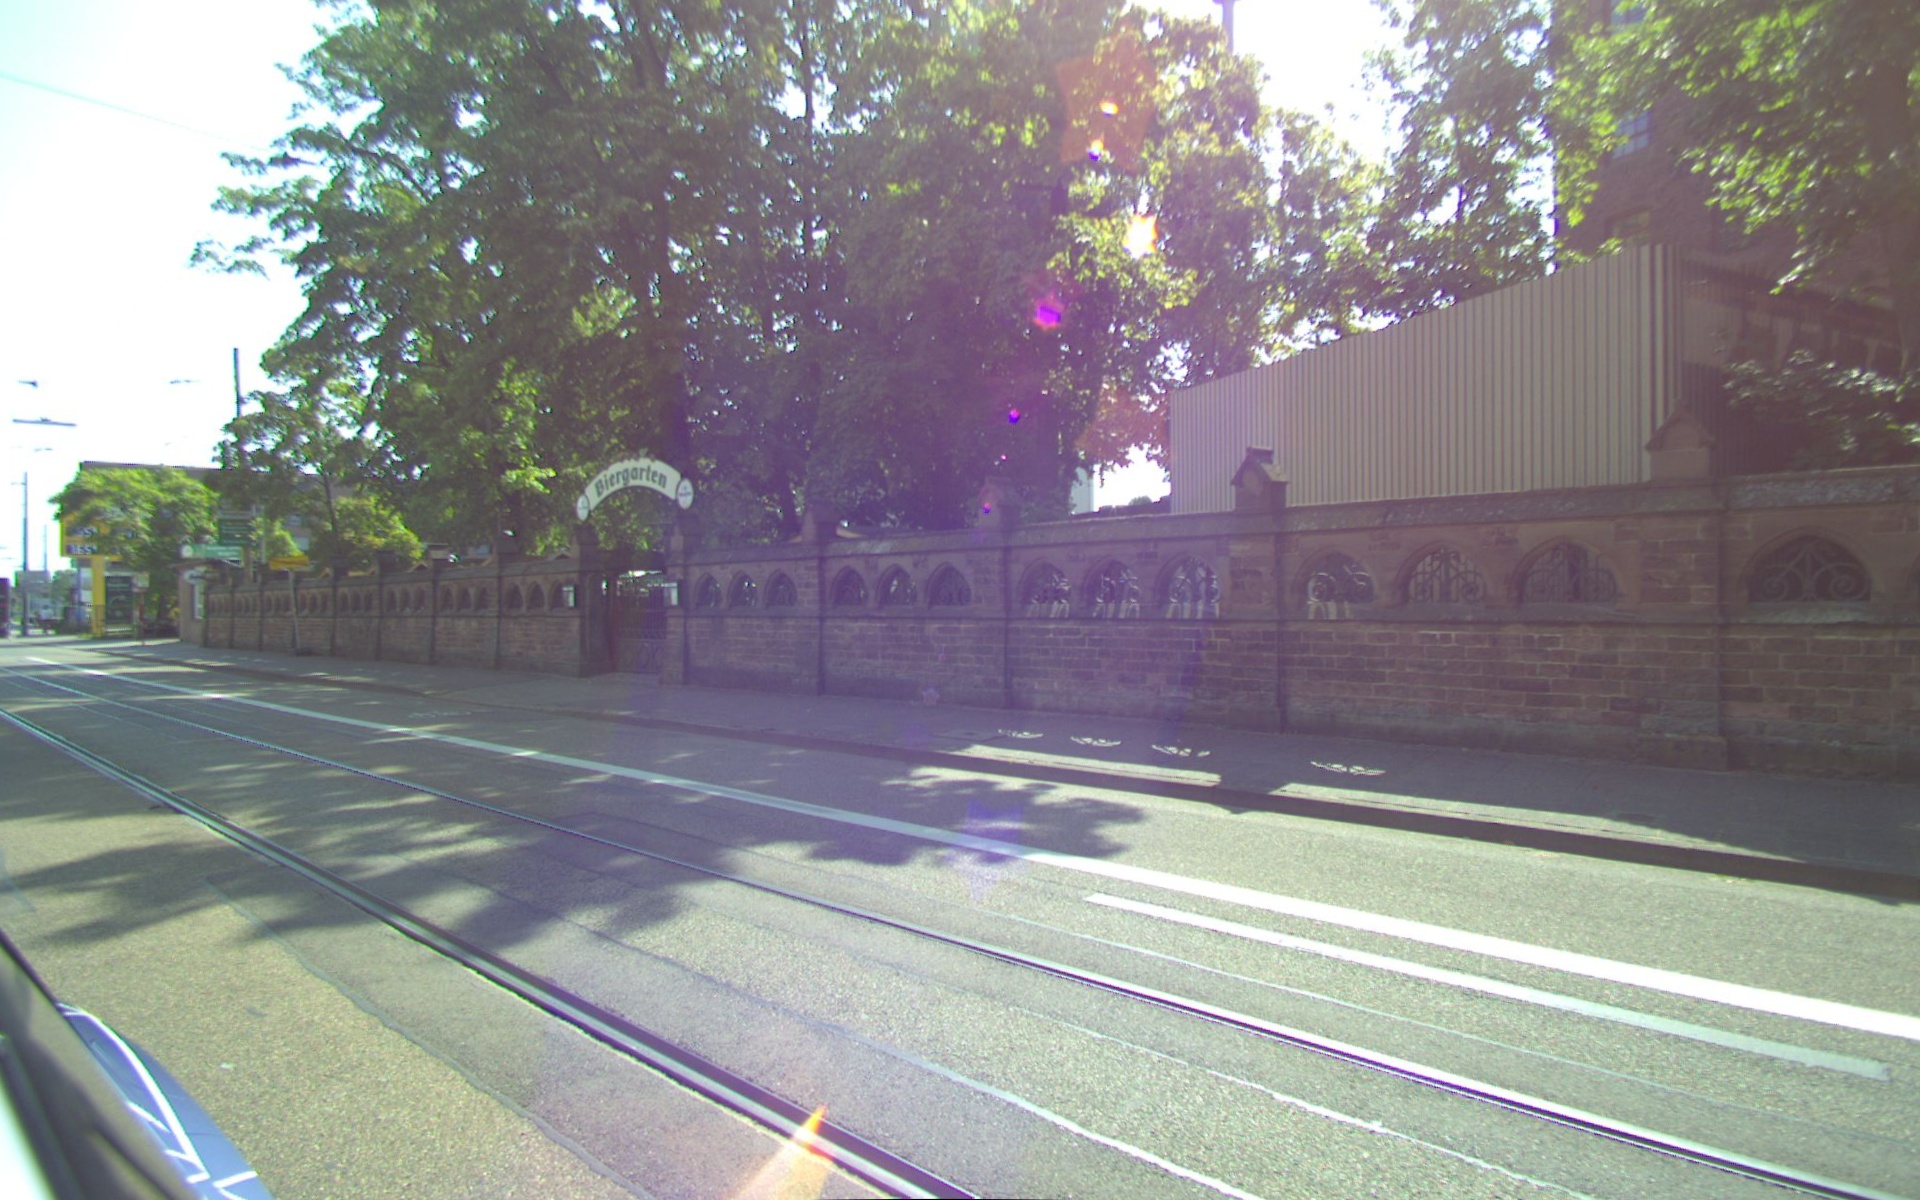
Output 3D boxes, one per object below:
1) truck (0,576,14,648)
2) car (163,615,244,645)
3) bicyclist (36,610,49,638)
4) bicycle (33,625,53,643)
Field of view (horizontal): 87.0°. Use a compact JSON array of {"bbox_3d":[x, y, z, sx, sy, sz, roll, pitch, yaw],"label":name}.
[{"bbox_3d":[-66.505,0.861,68.730,3.127,4.487,16.858,0,0,-43],"label":"truck"},{"bbox_3d":[-40.196,1.578,53.925,1.905,1.472,4.540,-1,0,-15],"label":"car"},{"bbox_3d":[-64.806,1.696,71.490,0.633,1.944,1.178,0,0,-39],"label":"bicyclist"},{"bbox_3d":[-64.704,2.396,71.407,0.775,1.249,2.039,-1,0,-35],"label":"bicycle"}]
